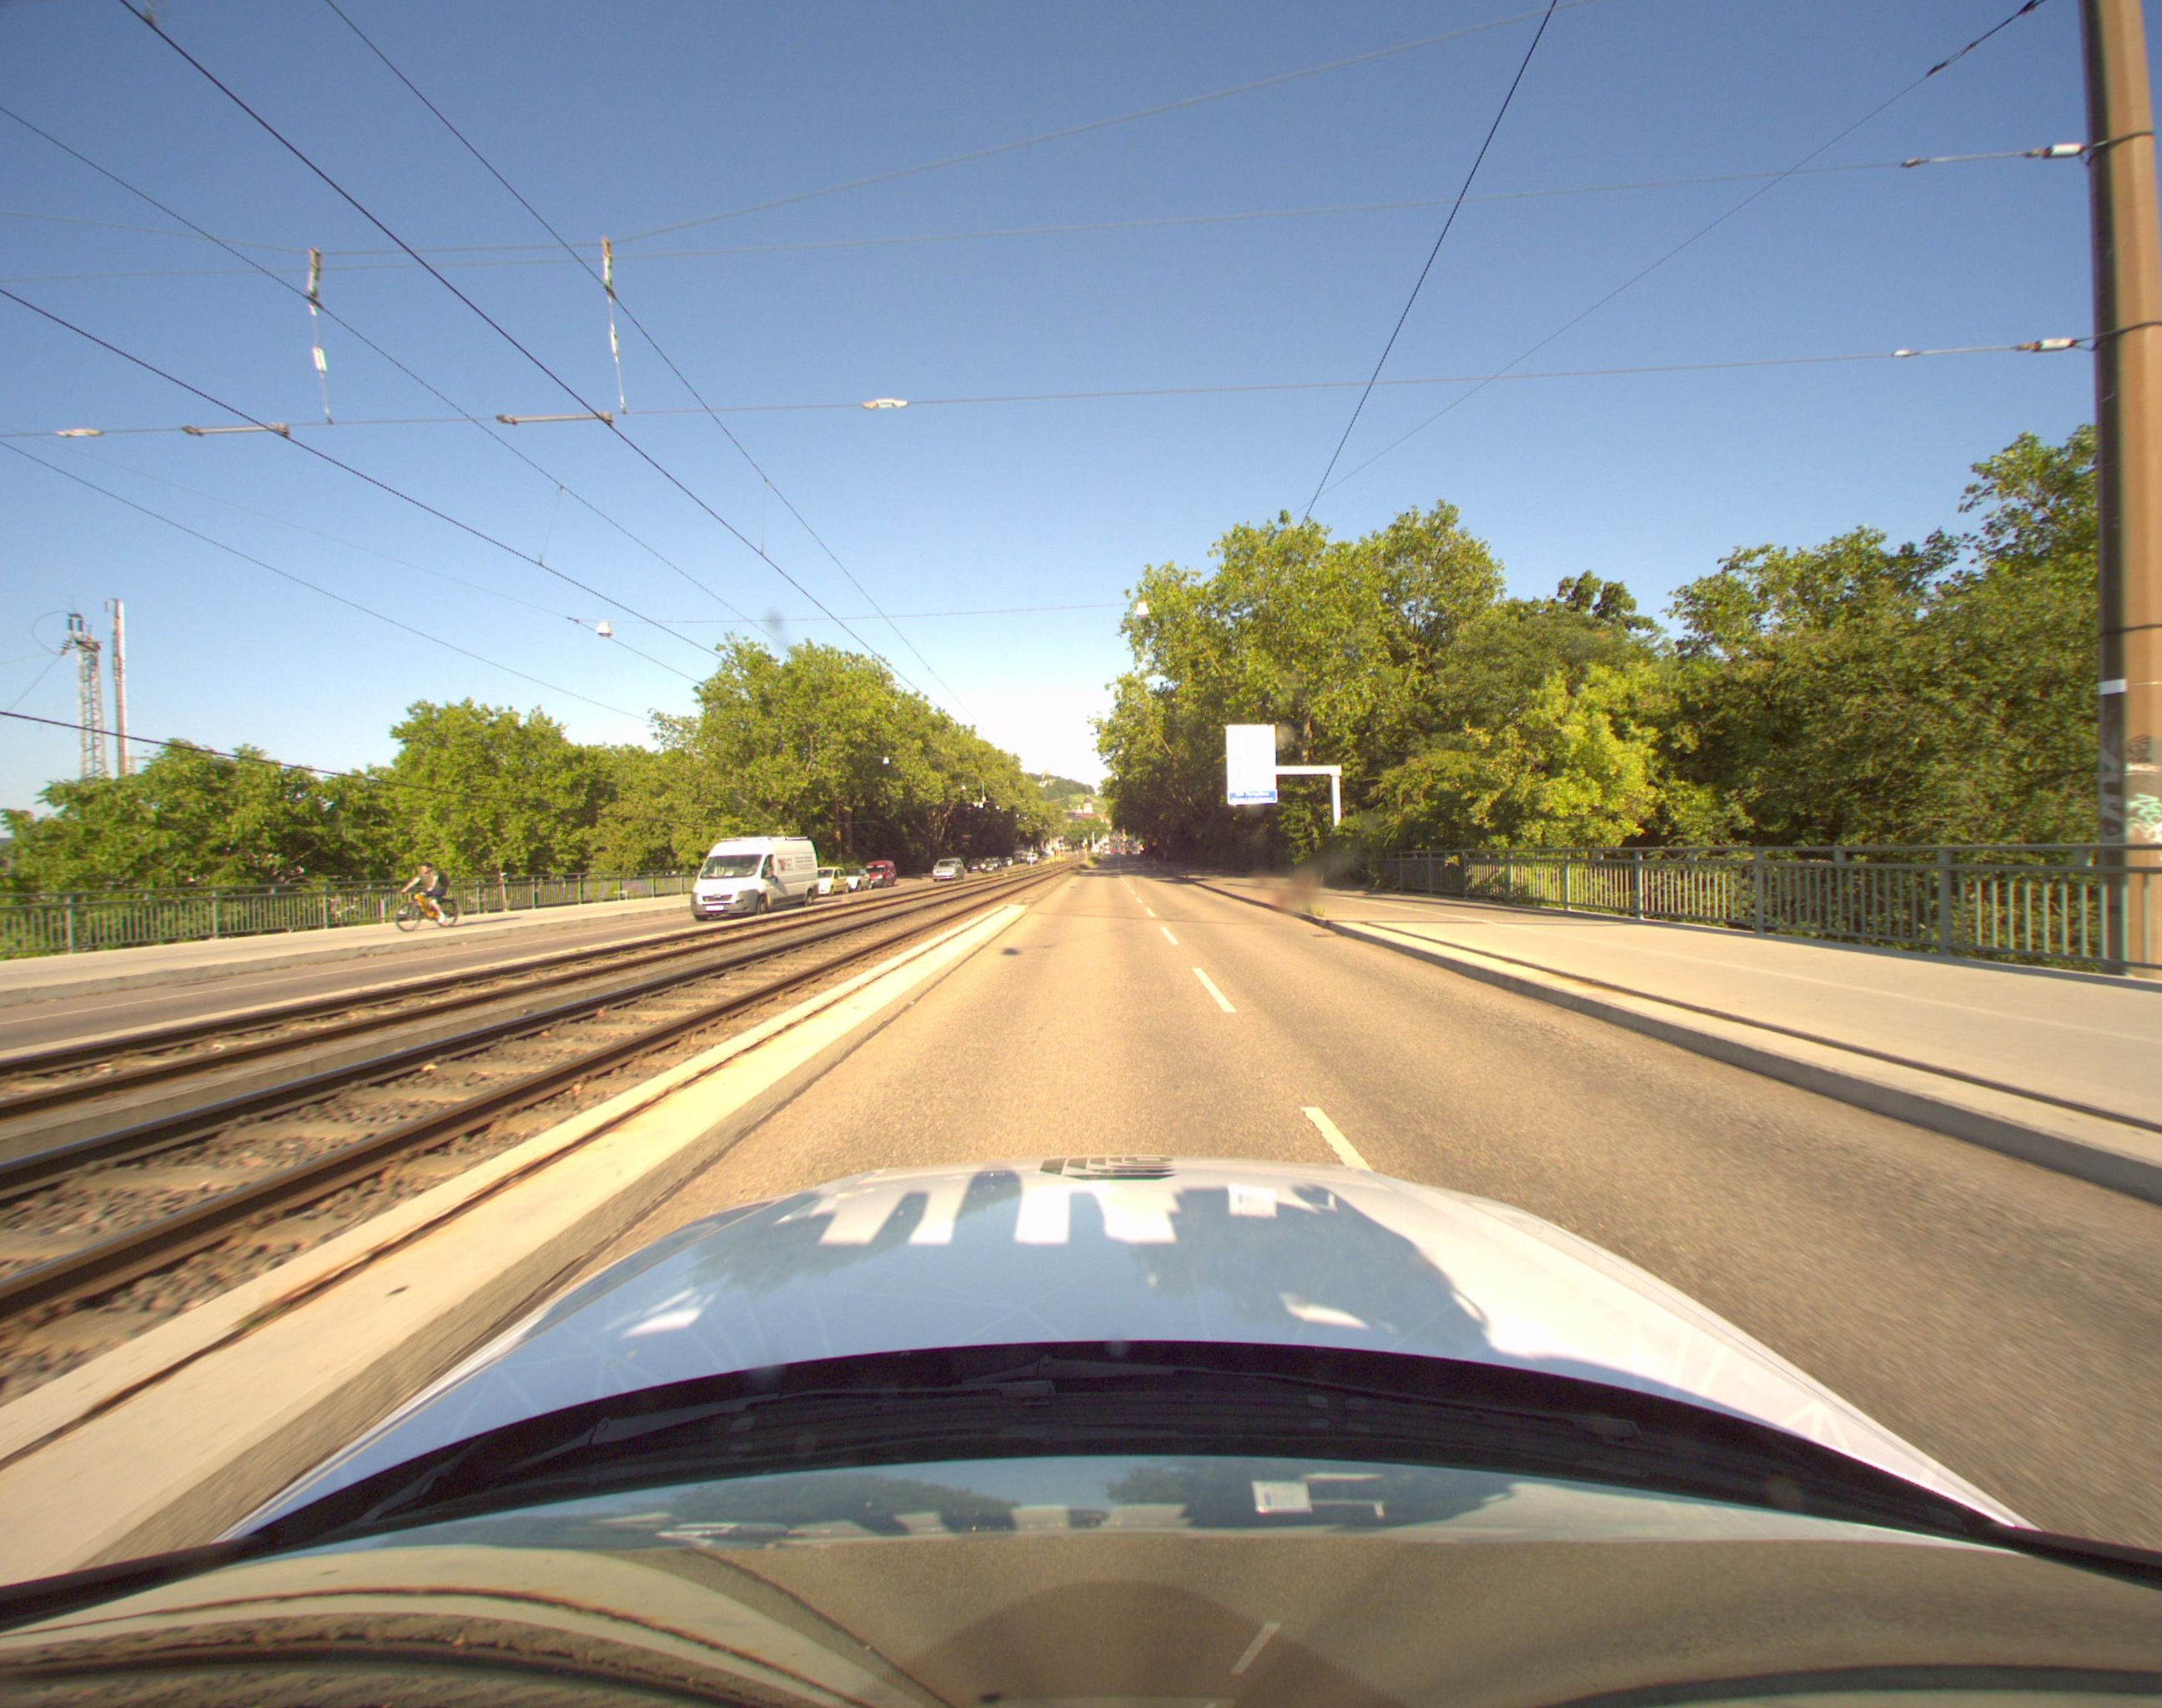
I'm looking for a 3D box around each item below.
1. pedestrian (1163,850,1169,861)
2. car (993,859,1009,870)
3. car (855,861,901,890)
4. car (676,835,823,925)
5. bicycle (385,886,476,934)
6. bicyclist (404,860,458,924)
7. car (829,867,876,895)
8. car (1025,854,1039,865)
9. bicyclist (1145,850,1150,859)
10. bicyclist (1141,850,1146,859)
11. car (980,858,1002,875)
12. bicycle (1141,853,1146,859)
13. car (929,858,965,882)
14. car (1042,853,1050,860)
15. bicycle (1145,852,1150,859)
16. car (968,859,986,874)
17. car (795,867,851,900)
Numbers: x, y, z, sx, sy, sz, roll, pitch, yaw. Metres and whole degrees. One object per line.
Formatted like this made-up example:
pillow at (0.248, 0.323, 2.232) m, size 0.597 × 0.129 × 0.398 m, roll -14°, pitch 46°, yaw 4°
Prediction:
pedestrian at (11.937, 0.223, 114.233) m, size 0.800 × 1.546 × 0.815 m, roll -2°, pitch 0°, yaw 5°
car at (-12.802, 1.676, 130.004) m, size 1.987 × 1.697 × 4.744 m, roll -2°, pitch 0°, yaw 0°
car at (-13.324, 1.373, 53.792) m, size 1.735 × 1.754 × 4.685 m, roll -2°, pitch 0°, yaw 1°
car at (-10.528, 0.727, 26.517) m, size 2.078 × 2.593 × 6.044 m, roll 0°, pitch 0°, yaw 2°
bicycle at (-17.112, 1.458, 21.497) m, size 0.677 × 1.097 × 2.101 m, roll 0°, pitch 0°, yaw 2°
bicyclist at (-17.110, 0.986, 21.457) m, size 0.677 × 1.626 × 0.890 m, roll 0°, pitch 0°, yaw 2°
car at (-13.532, 1.553, 48.412) m, size 1.628 × 1.450 × 4.001 m, roll -2°, pitch 0°, yaw -1°
car at (-8.949, 0.957, 149.660) m, size 1.987 × 1.844 × 5.302 m, roll -4°, pitch 0°, yaw 1°
bicyclist at (13.165, 0.098, 161.057) m, size 0.883 × 1.638 × 1.165 m, roll -2°, pitch 0°, yaw 2°
bicyclist at (13.465, 0.127, 175.688) m, size 0.884 × 1.774 × 1.222 m, roll -2°, pitch 0°, yaw 0°
car at (-9.616, 1.310, 87.464) m, size 1.736 × 1.623 × 4.394 m, roll -4°, pitch 0°, yaw 0°
bicycle at (13.470, 0.486, 175.523) m, size 0.884 × 1.321 × 2.639 m, roll -2°, pitch 0°, yaw 0°
car at (-10.196, 1.214, 62.317) m, size 1.866 × 1.665 × 4.599 m, roll -1°, pitch 0°, yaw 2°
car at (-9.167, 0.752, 214.305) m, size 1.987 × 1.697 × 4.744 m, roll -2°, pitch 0°, yaw 0°
bicycle at (13.163, 0.345, 160.958) m, size 0.883 × 1.321 × 2.641 m, roll -2°, pitch 0°, yaw 2°
car at (-12.357, 1.497, 97.108) m, size 1.738 × 1.636 × 3.996 m, roll -3°, pitch 0°, yaw -3°
car at (-13.554, 1.514, 43.032) m, size 1.627 × 1.531 × 3.791 m, roll -2°, pitch 0°, yaw 1°
